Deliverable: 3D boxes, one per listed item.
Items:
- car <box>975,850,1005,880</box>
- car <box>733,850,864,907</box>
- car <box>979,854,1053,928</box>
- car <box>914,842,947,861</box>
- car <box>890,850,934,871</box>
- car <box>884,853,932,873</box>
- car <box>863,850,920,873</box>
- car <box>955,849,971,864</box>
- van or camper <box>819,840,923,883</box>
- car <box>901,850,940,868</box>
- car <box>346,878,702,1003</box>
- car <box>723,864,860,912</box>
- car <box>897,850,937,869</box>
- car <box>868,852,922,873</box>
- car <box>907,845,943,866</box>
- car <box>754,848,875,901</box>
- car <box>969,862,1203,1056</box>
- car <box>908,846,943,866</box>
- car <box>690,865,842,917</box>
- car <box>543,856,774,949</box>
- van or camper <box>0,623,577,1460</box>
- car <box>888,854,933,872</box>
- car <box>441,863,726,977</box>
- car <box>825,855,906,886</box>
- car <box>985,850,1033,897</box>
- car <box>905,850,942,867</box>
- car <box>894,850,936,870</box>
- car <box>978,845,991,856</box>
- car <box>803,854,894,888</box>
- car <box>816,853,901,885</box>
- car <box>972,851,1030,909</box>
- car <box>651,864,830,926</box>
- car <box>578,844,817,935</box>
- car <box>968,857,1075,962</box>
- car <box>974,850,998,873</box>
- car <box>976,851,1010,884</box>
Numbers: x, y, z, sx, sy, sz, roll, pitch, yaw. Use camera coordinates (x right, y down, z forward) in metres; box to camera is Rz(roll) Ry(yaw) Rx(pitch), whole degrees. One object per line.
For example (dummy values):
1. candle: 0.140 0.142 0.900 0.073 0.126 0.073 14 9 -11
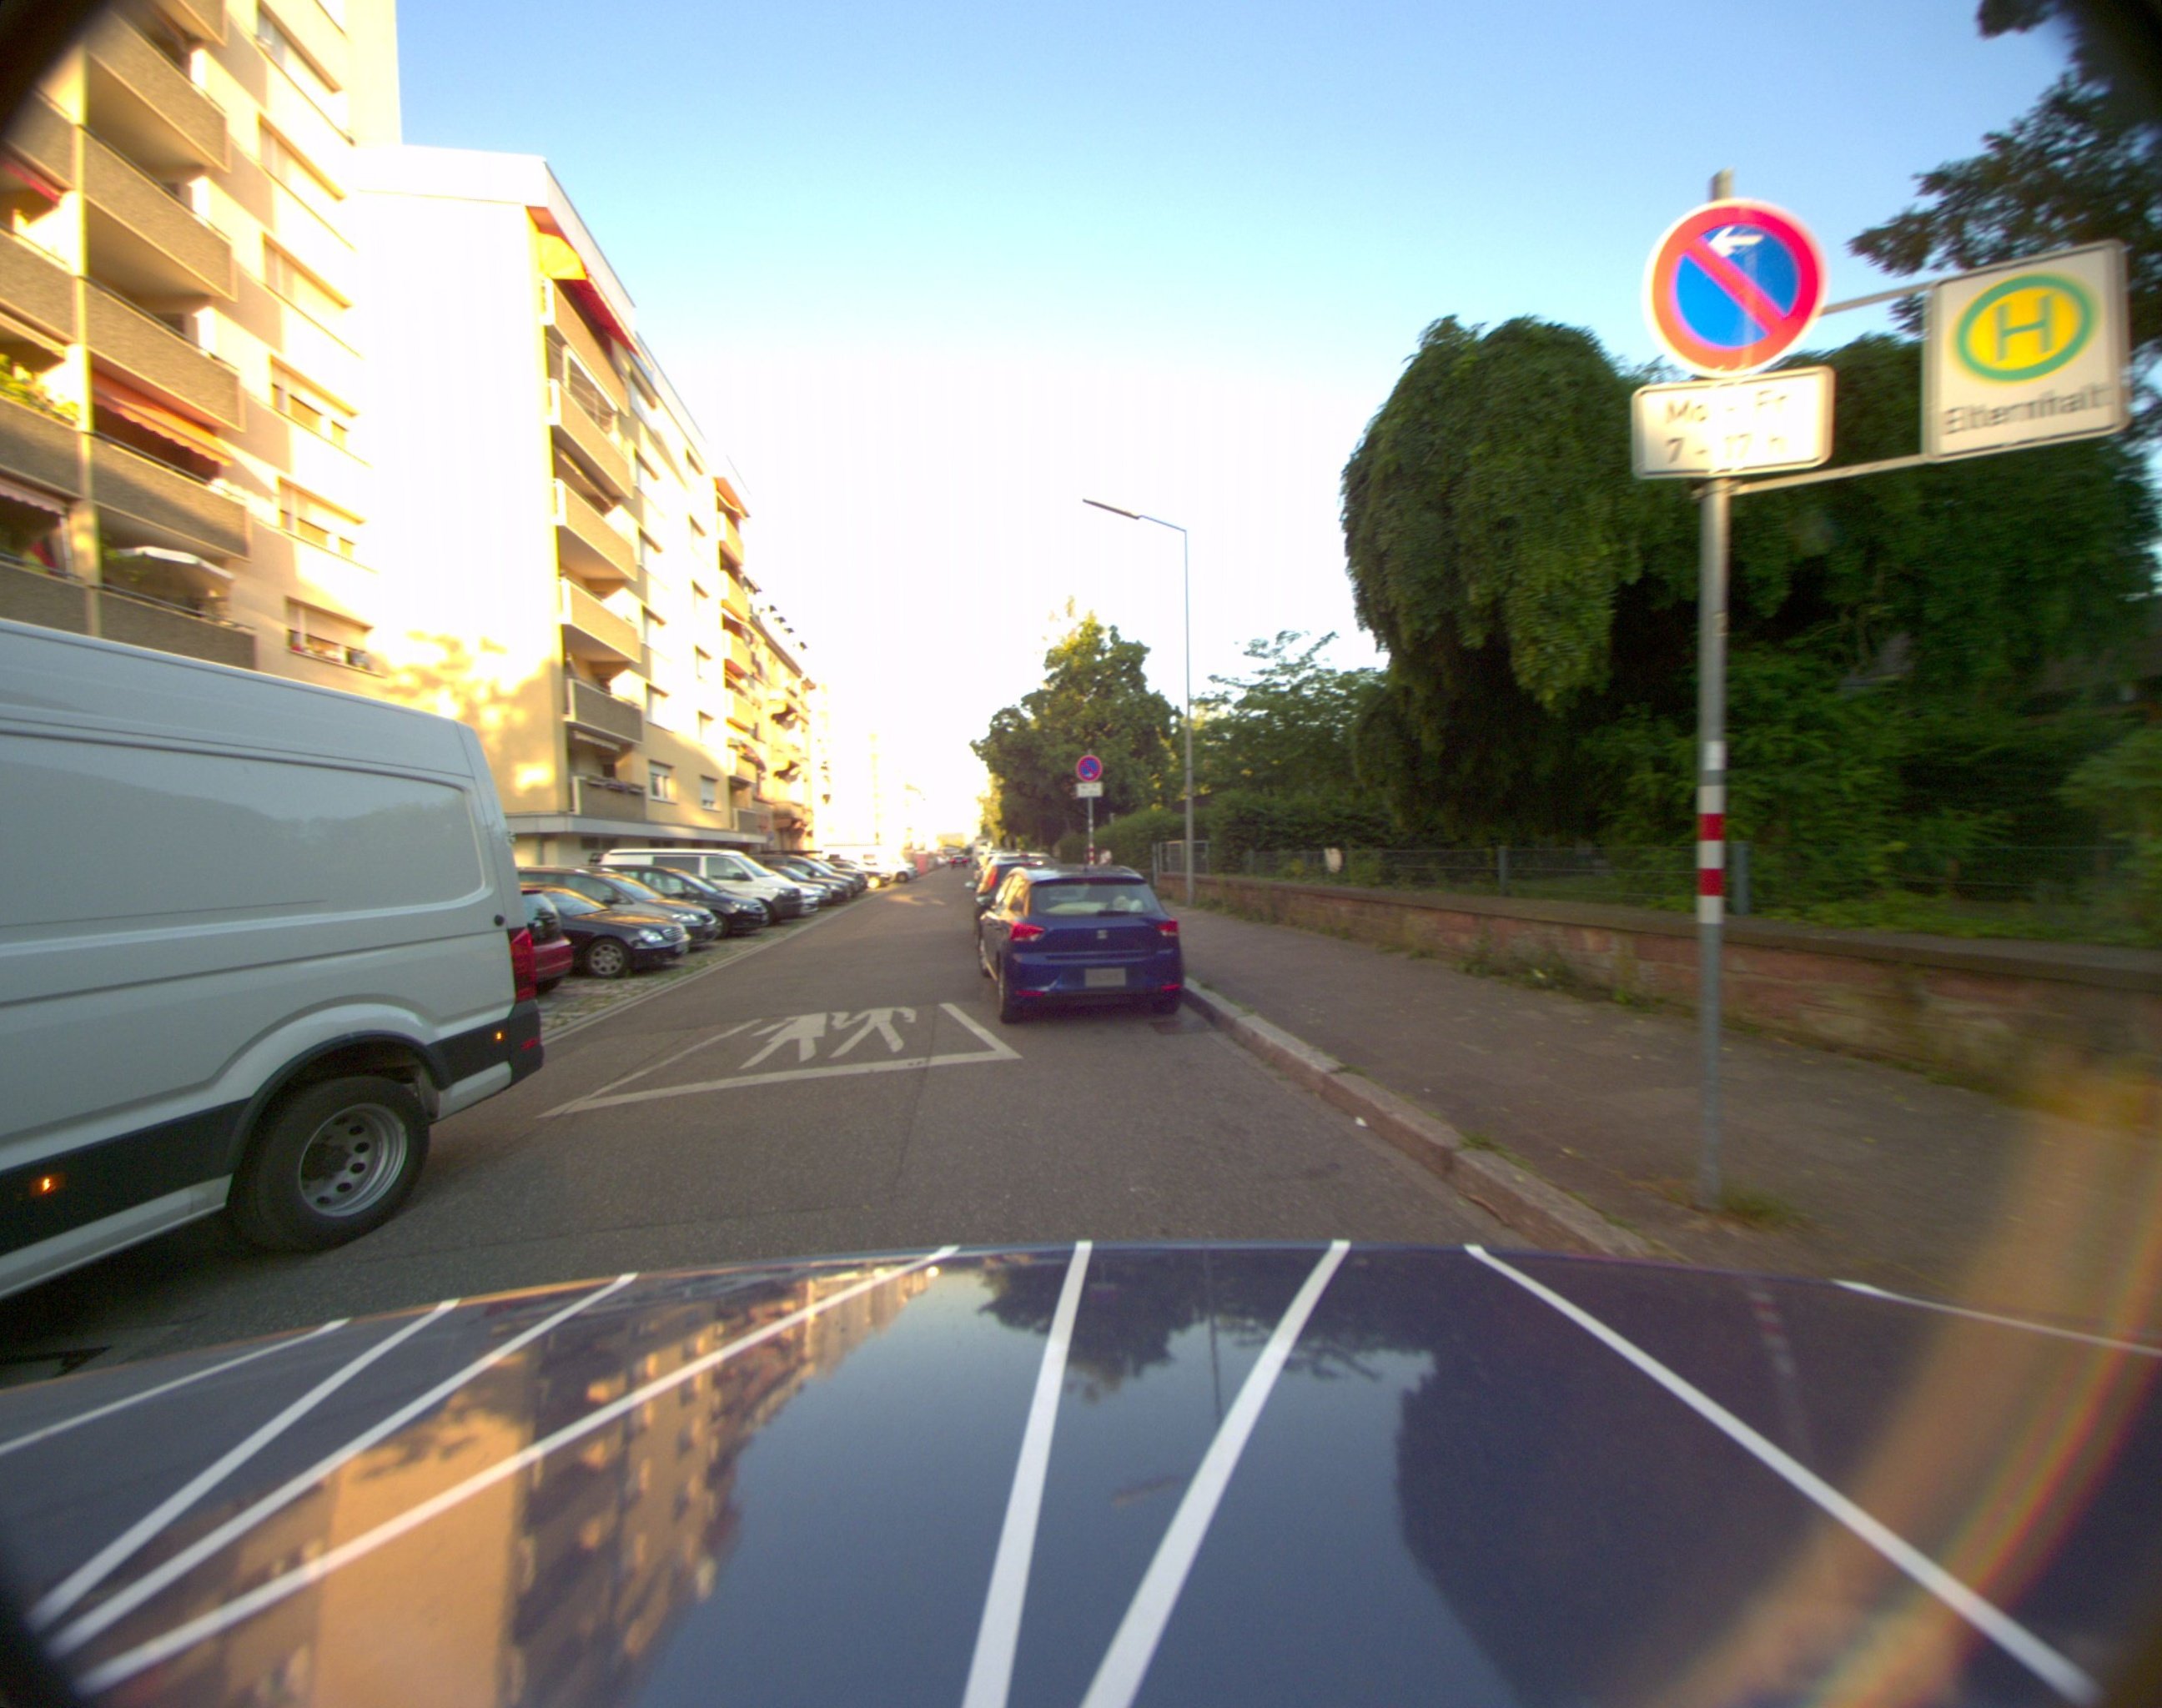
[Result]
1. car: -5.156 0.610 42.825 1.534 1.576 2.951 -2 1 -9
2. car: -10.737 0.899 29.143 4.363 1.986 1.742 -2 1 -7
3. car: -1.654 0.822 18.600 1.534 1.576 3.126 -2 1 -9
4. car: -20.083 -0.321 101.518 4.190 2.462 1.838 -2 1 -7
5. car: -17.192 0.651 77.584 4.190 1.987 1.742 -2 1 -7
6. car: -16.235 0.828 71.528 4.190 1.650 1.742 -2 1 -7
7. car: -15.216 0.589 61.093 4.190 1.650 1.742 -2 1 -7
8. car: -14.182 0.278 91.500 1.743 1.650 4.360 -2 1 -6
9. van or camper: -13.349 0.443 48.739 6.103 2.476 2.195 -2 1 -7
10. car: -18.474 0.561 87.364 4.190 1.987 1.838 -2 1 -7
11. car: -8.360 1.241 11.821 4.001 1.543 1.827 -2 1 -11
12. car: -10.086 1.160 26.718 4.143 1.452 1.742 -2 1 -7
13. car: -18.313 0.587 84.974 4.190 1.987 1.838 -2 1 -7
14. car: -15.560 0.685 63.874 4.190 1.650 1.742 -2 1 -7
15. car: -19.453 0.169 94.939 4.190 2.428 1.838 -2 1 -7
16. car: -10.947 0.808 31.466 4.363 1.986 1.742 -2 1 -7
17. car: -0.198 0.879 8.226 1.724 1.476 3.785 -2 1 -12
18. car: -19.975 0.287 97.868 4.190 2.462 1.838 -2 1 -7
19. car: -9.977 1.145 24.332 4.143 1.452 1.742 -2 1 -7
20. car: -9.301 1.015 17.095 4.113 1.803 1.827 -2 1 -11
21. van or camper: -4.481 0.643 1.295 2.094 2.575 6.872 -4 1 4
22. car: -16.732 0.843 74.730 4.190 1.650 1.742 -2 1 -7
23. car: -9.166 1.150 14.368 4.054 1.803 1.827 -2 1 -11
24. car: -12.735 0.952 45.147 4.363 1.650 1.742 -2 1 -7
25. car: -2.686 0.682 27.875 1.534 1.576 2.951 -2 1 -9
26. car: -18.990 0.521 91.637 4.190 1.987 1.838 -2 1 -7
27. car: -17.863 0.614 81.906 4.190 1.987 2.029 -2 1 -7
28. car: -14.575 -0.555 114.676 1.804 1.576 2.951 -2 1 -9
29. car: -12.351 0.876 40.590 4.363 1.650 1.742 -2 1 -7
30. car: -12.591 0.849 43.226 4.363 1.650 1.742 -2 1 -7
31. car: -2.490 0.735 23.180 1.534 1.576 3.399 -2 1 -9
32. car: -9.763 1.140 22.103 4.365 1.535 1.742 -2 1 -7
33. car: -9.762 0.845 19.731 5.076 2.073 1.999 -2 1 -6
34. car: -1.147 0.841 13.208 1.534 1.476 3.507 -2 1 -9
35. car: -6.720 0.514 53.711 1.534 1.576 2.951 -2 1 -9
36. car: -4.473 0.647 38.476 1.534 1.576 2.951 -2 1 -9
